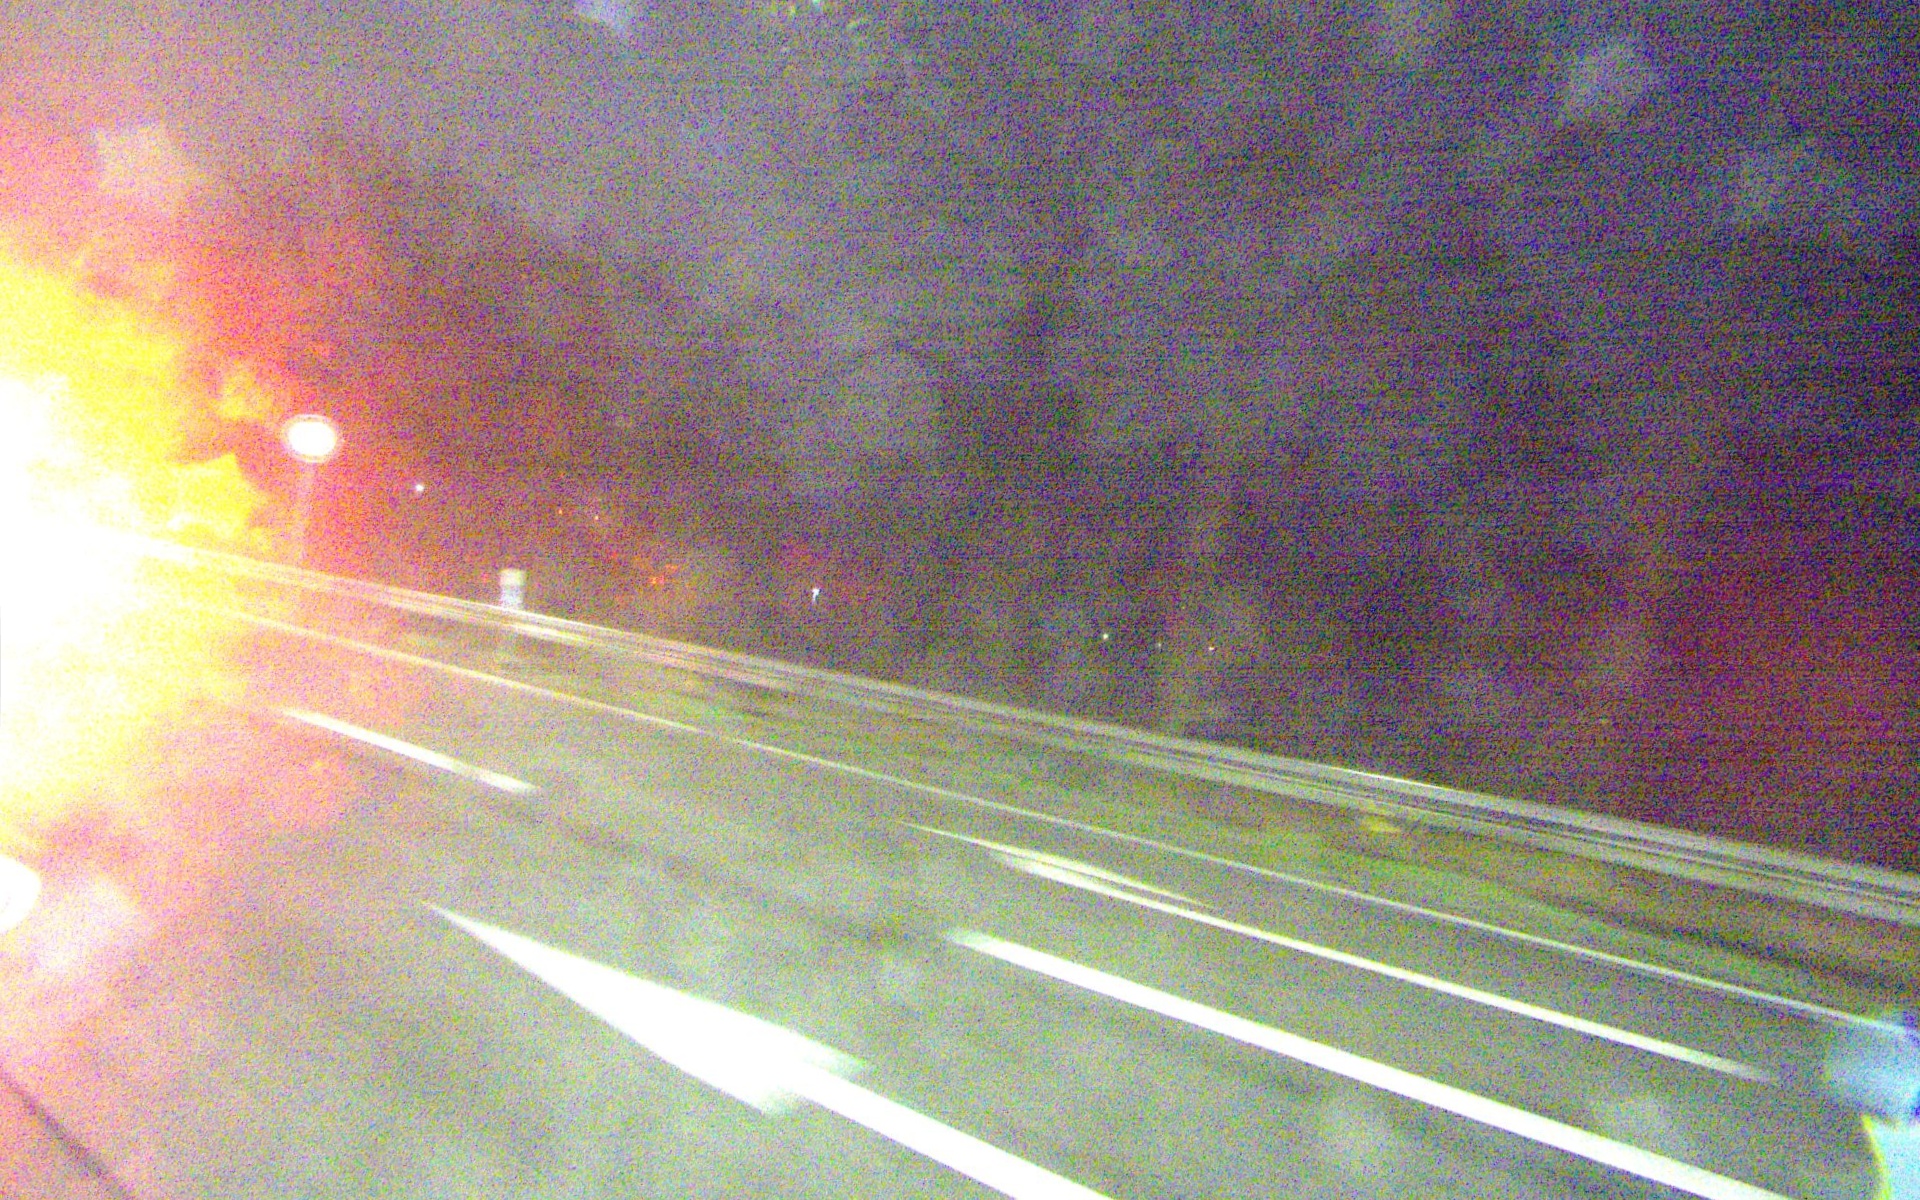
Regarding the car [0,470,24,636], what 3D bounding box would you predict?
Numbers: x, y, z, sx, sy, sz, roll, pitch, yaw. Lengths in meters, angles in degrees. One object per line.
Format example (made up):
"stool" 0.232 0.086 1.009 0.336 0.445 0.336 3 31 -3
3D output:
"car" -11.186 -0.726 9.835 3.711 1.583 1.744 7 -1 28
